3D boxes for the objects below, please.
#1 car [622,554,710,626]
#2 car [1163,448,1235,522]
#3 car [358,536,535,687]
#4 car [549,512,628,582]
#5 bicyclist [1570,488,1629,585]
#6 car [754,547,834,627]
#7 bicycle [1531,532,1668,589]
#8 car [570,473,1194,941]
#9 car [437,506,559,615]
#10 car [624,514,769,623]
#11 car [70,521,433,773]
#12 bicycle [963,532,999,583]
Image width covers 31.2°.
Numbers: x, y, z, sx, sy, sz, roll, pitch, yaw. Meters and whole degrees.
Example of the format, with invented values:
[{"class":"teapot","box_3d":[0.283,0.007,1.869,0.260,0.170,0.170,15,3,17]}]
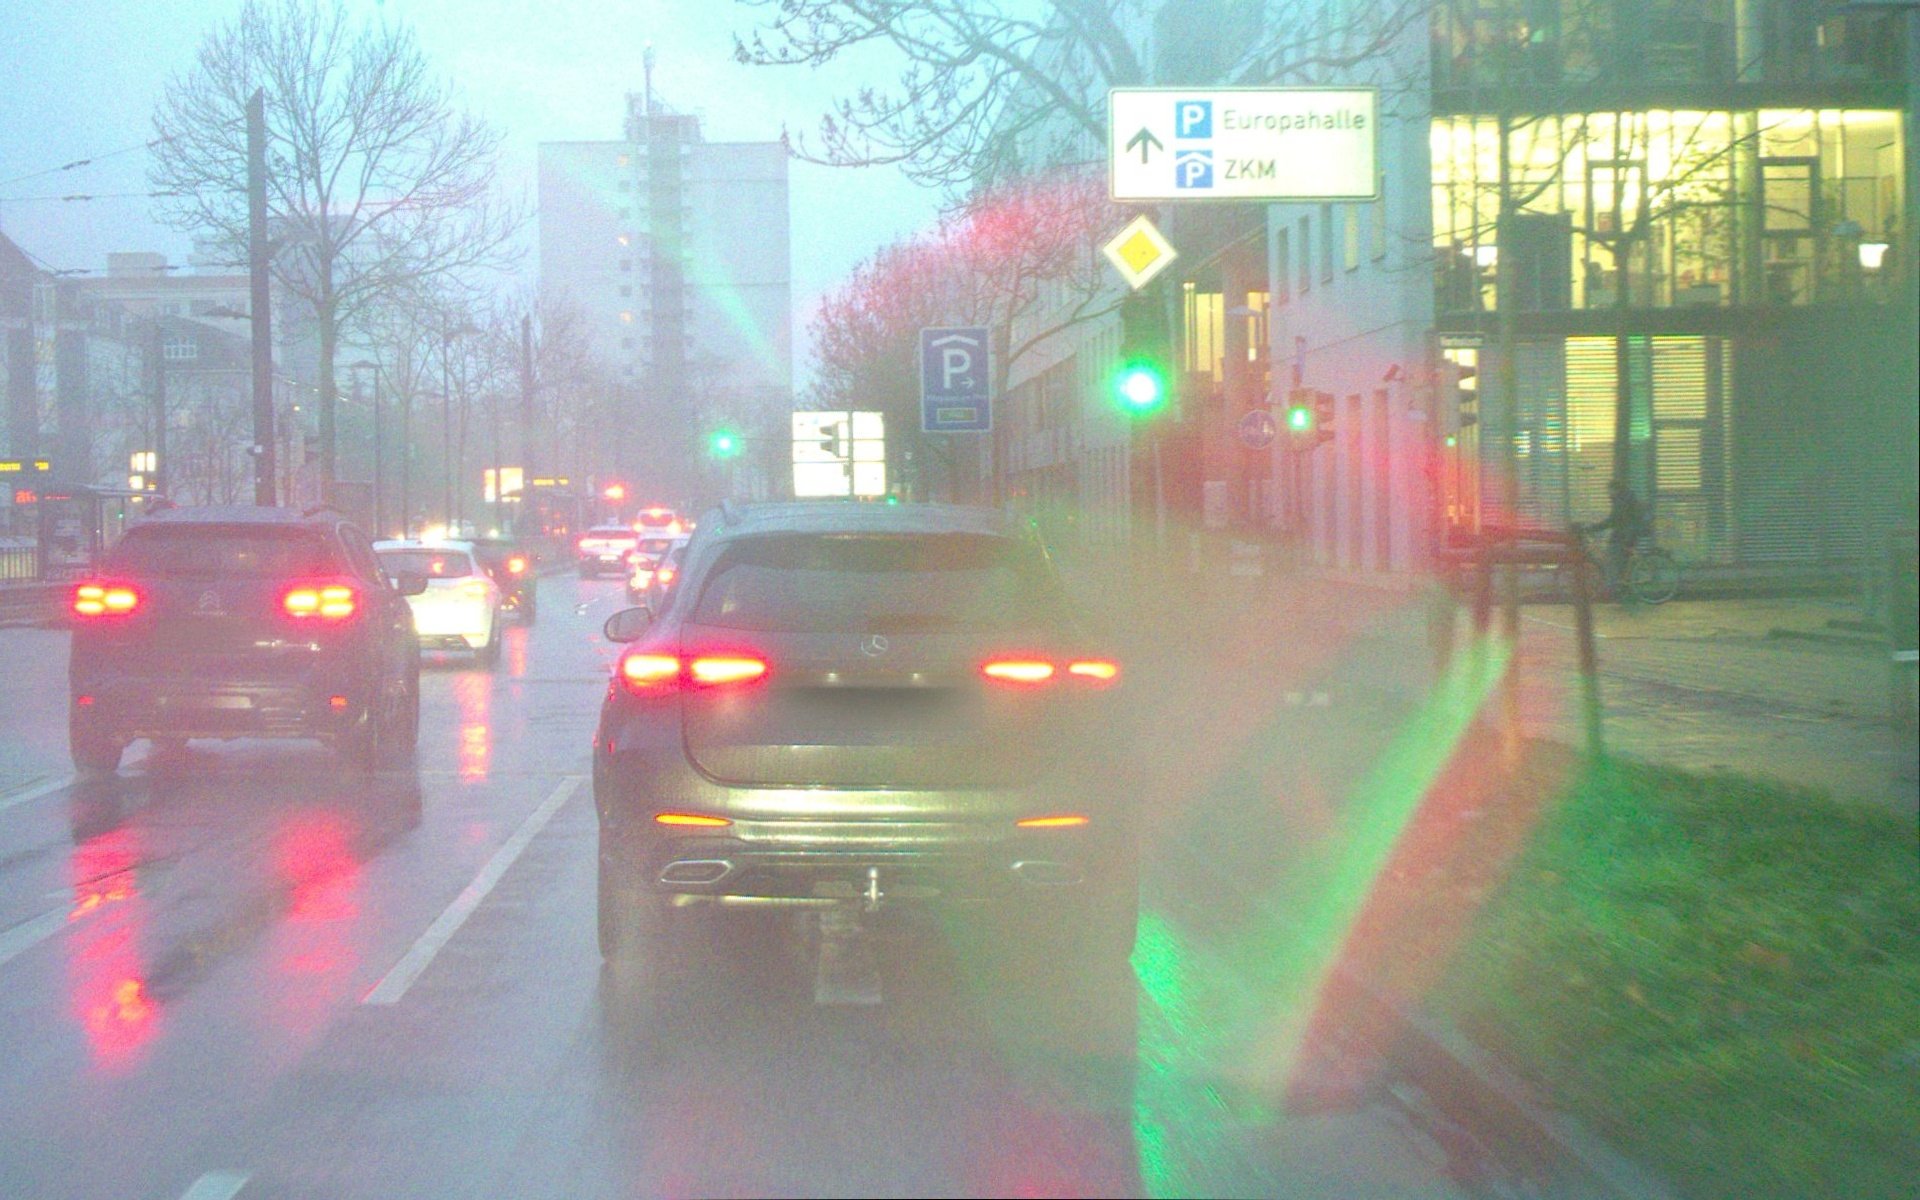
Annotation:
[{"class":"car","box_3d":[-6.309,-0.230,73.924,1.559,1.455,3.112,1,1,1]},{"class":"car","box_3d":[5.957,-2.855,85.878,1.627,1.753,3.422,1,1,2]},{"class":"car","box_3d":[-5.913,0.096,39.906,1.689,1.629,3.474,1,1,-3]},{"class":"car","box_3d":[-11.084,-1.588,102.707,1.993,2.007,4.001,1,1,-1]},{"class":"bicyclist","box_3d":[8.904,-0.887,47.831,0.622,1.325,0.565,2,1,30]},{"class":"car","box_3d":[-3.744,-0.313,77.945,1.575,1.699,3.702,1,1,1]},{"class":"bicycle","box_3d":[8.889,-0.548,47.813,1.731,0.743,0.650,2,1,31]},{"class":"car","box_3d":[-0.349,0.316,12.991,1.993,1.478,3.700,1,1,-3]},{"class":"car","box_3d":[-7.795,-0.670,58.224,1.662,1.753,3.568,1,1,-2]},{"class":"car","box_3d":[-3.915,-0.500,51.508,1.867,1.537,3.611,1,1,0]},{"class":"car","box_3d":[-4.485,0.235,22.285,1.817,1.445,4.001,1,1,-5]},{"class":"bicycle","box_3d":[0.400,-0.825,66.530,0.544,0.962,1.346,1,1,-5]}]
